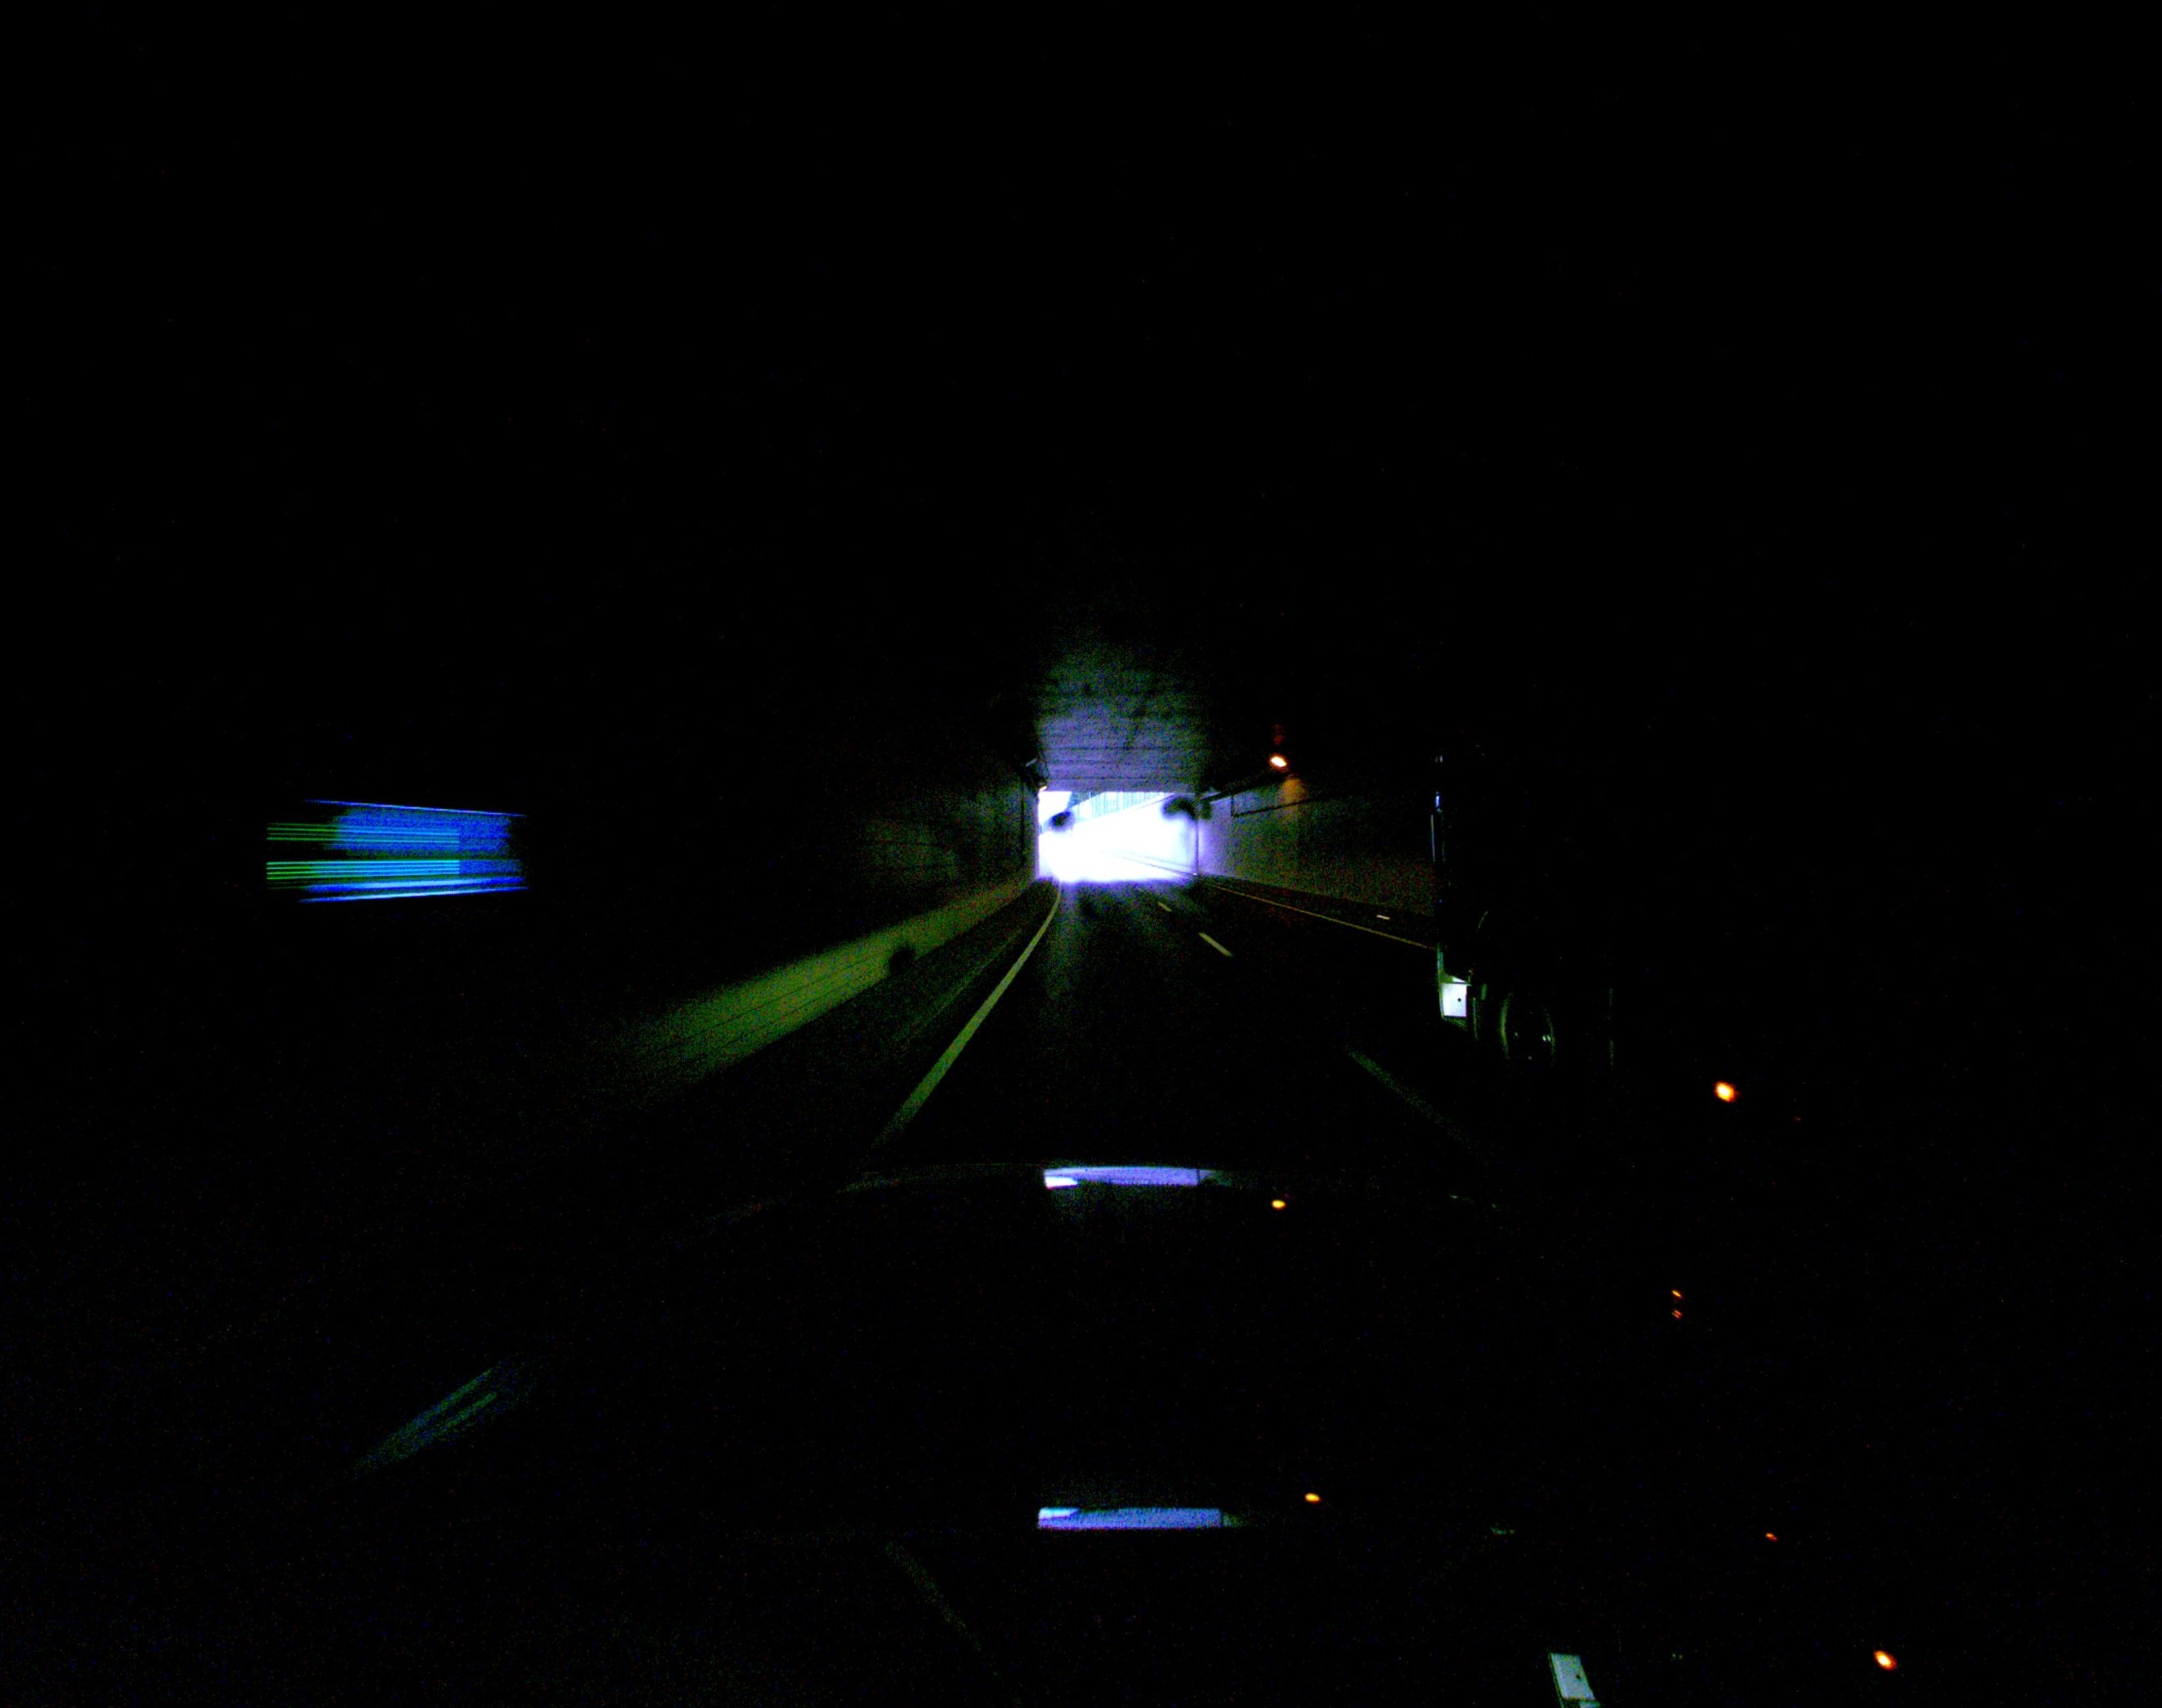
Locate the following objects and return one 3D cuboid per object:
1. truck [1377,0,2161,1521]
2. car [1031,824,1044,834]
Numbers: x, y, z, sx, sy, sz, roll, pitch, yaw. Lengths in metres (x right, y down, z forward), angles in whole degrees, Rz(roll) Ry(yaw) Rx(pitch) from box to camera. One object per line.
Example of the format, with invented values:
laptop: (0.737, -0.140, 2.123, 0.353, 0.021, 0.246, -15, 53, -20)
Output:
truck: (3.590, -0.625, 1.071, 2.879, 3.913, 9.909, -1, 0, 1)
car: (-8.289, -4.770, 154.806, 1.870, 1.732, 3.985, -1, 0, -11)
